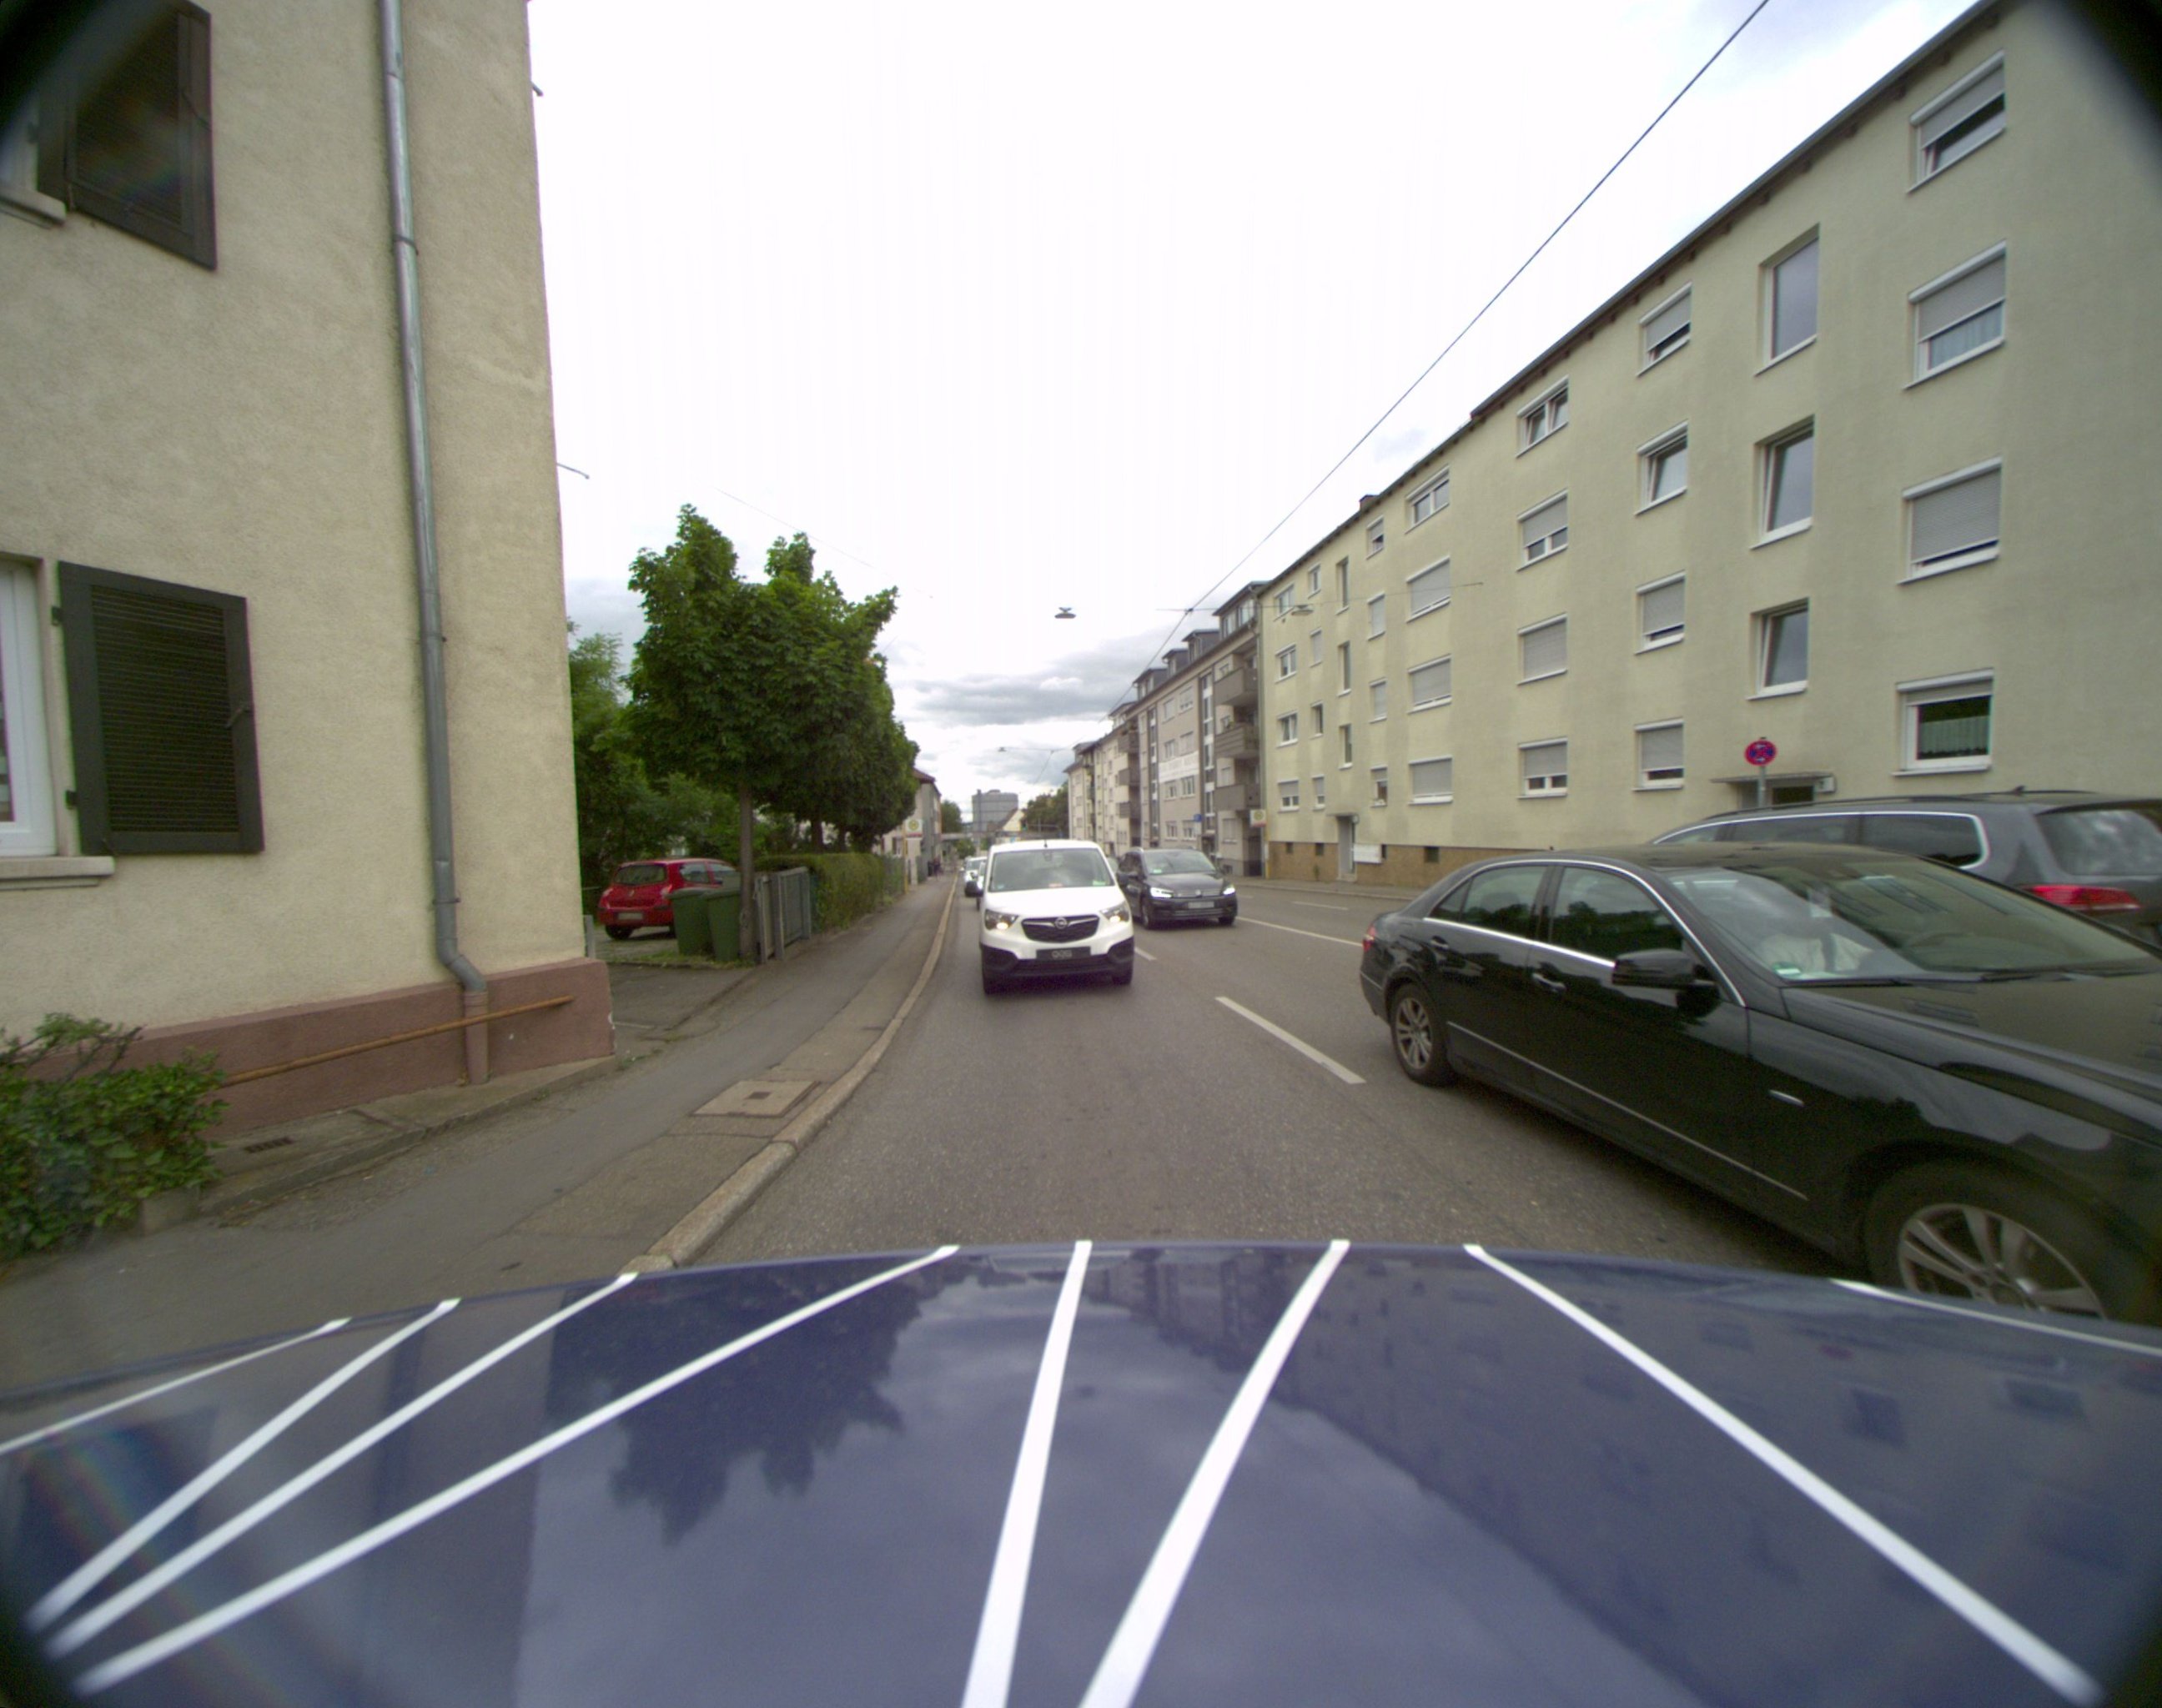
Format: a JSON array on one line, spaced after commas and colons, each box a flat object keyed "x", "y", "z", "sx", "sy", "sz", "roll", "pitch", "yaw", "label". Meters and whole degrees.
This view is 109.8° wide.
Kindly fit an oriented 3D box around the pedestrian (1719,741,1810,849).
[{"x": 10.784, "y": -0.915, "z": 12.006, "sx": 0.690, "sy": 1.627, "sz": 0.778, "roll": -2, "pitch": 1, "yaw": -12, "label": "pedestrian"}]

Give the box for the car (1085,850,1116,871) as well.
[{"x": 1.593, "y": 0.508, "z": 63.062, "sx": 1.777, "sy": 1.592, "sz": 3.536, "roll": -1, "pitch": 1, "yaw": -12, "label": "car"}]

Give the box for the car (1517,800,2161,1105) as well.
[{"x": 6.381, "y": 0.512, "z": 6.701, "sx": 1.910, "sy": 1.704, "sz": 4.715, "roll": -1, "pitch": 1, "yaw": -8, "label": "car"}]

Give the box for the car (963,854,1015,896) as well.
[{"x": -4.063, "y": 0.860, "z": 33.052, "sx": 1.901, "sy": 1.635, "sz": 3.996, "roll": -2, "pitch": 1, "yaw": -12, "label": "car"}]

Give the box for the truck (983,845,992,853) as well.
[{"x": -30.818, "y": -1.698, "z": 250.282, "sx": 2.548, "sy": 2.522, "sz": 5.490, "roll": -2, "pitch": 1, "yaw": -7, "label": "truck"}]

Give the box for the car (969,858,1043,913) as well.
[{"x": -2.527, "y": 0.943, "z": 24.669, "sx": 1.901, "sy": 1.501, "sz": 4.163, "roll": -4, "pitch": 0, "yaw": -11, "label": "car"}]

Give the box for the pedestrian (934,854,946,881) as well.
[{"x": -9.808, "y": 0.942, "z": 52.884, "sx": 0.647, "sy": 1.830, "sz": 0.592, "roll": -2, "pitch": 1, "yaw": -5, "label": "pedestrian"}]

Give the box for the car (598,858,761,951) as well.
[{"x": -7.725, "y": 0.889, "z": 15.008, "sx": 1.701, "sy": 1.452, "sz": 3.436, "roll": -3, "pitch": 1, "yaw": -8, "label": "car"}]

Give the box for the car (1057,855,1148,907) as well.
[{"x": 0.552, "y": 0.751, "z": 22.999, "sx": 1.883, "sy": 1.347, "sz": 4.142, "roll": -2, "pitch": 1, "yaw": -10, "label": "car"}]

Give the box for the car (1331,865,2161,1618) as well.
[{"x": 3.064, "y": 0.825, "z": 3.332, "sx": 1.999, "sy": 1.420, "sz": 4.840, "roll": -3, "pitch": 0, "yaw": -4, "label": "car"}]

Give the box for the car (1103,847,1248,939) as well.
[{"x": 1.843, "y": 0.700, "z": 16.376, "sx": 1.864, "sy": 1.602, "sz": 4.475, "roll": -3, "pitch": 1, "yaw": -9, "label": "car"}]

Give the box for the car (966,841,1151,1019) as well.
[{"x": -0.476, "y": 0.761, "z": 10.374, "sx": 1.863, "sy": 1.772, "sz": 4.708, "roll": -3, "pitch": 1, "yaw": -6, "label": "car"}]
